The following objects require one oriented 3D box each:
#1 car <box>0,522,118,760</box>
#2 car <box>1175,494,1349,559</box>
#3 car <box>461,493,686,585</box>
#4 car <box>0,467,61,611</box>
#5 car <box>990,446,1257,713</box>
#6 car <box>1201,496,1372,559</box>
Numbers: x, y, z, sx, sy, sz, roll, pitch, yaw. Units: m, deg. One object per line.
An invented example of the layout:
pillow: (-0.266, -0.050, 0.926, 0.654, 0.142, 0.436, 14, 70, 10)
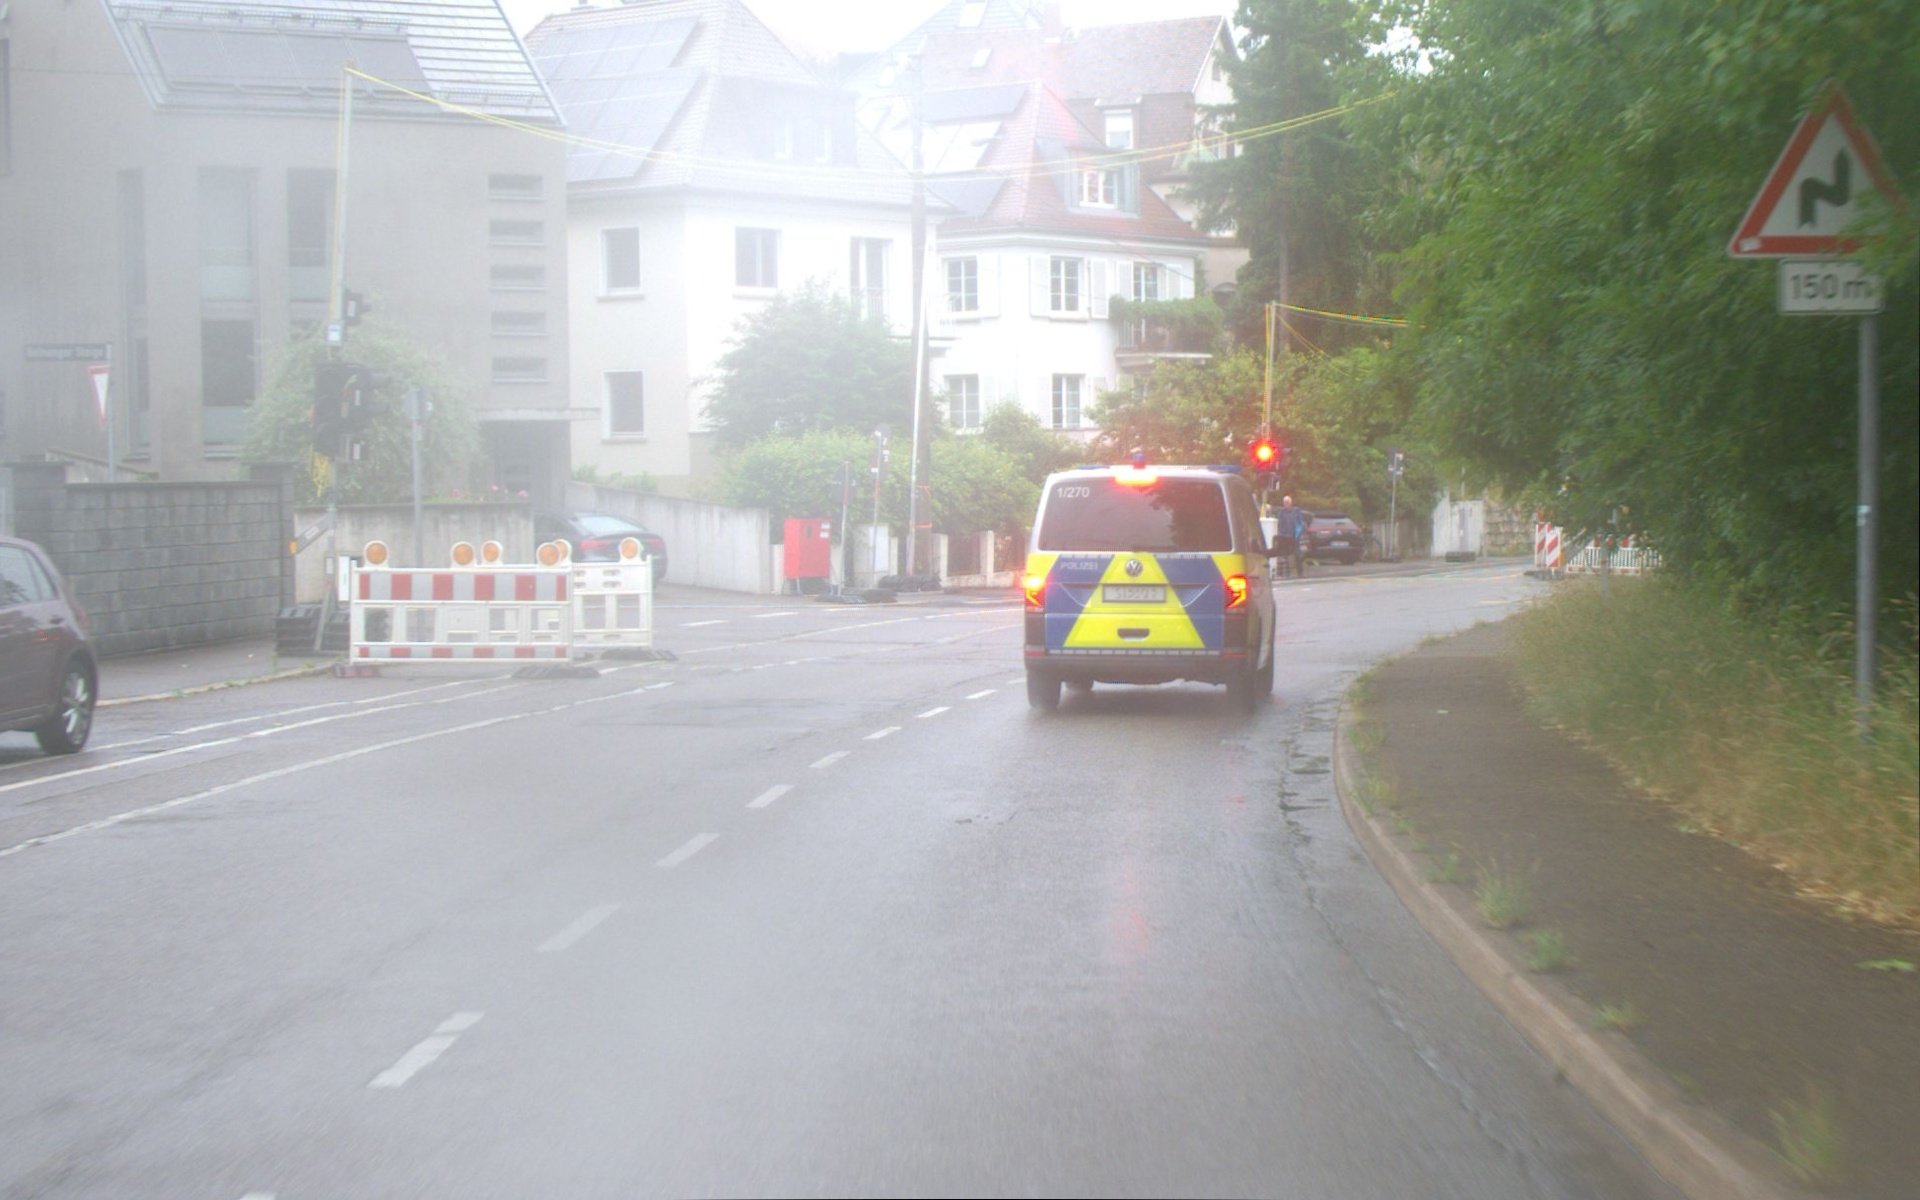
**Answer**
car: (-6.693, 0.267, 21.095, 1.616, 1.435, 4.229, 0, 2, 6)
car: (7.645, -1.868, 87.100, 3.993, 1.481, 1.757, 2, 0, 28)
car: (-6.439, -1.039, 56.994, 1.834, 1.438, 3.999, -1, 3, -39)
car: (-10.601, -0.616, 35.059, 1.776, 1.459, 3.616, -1, 1, 2)
car: (1.455, -0.170, 28.837, 1.994, 2.007, 4.401, 2, 0, 5)
car: (8.457, -1.886, 89.095, 3.993, 1.481, 1.757, 2, 0, 28)
